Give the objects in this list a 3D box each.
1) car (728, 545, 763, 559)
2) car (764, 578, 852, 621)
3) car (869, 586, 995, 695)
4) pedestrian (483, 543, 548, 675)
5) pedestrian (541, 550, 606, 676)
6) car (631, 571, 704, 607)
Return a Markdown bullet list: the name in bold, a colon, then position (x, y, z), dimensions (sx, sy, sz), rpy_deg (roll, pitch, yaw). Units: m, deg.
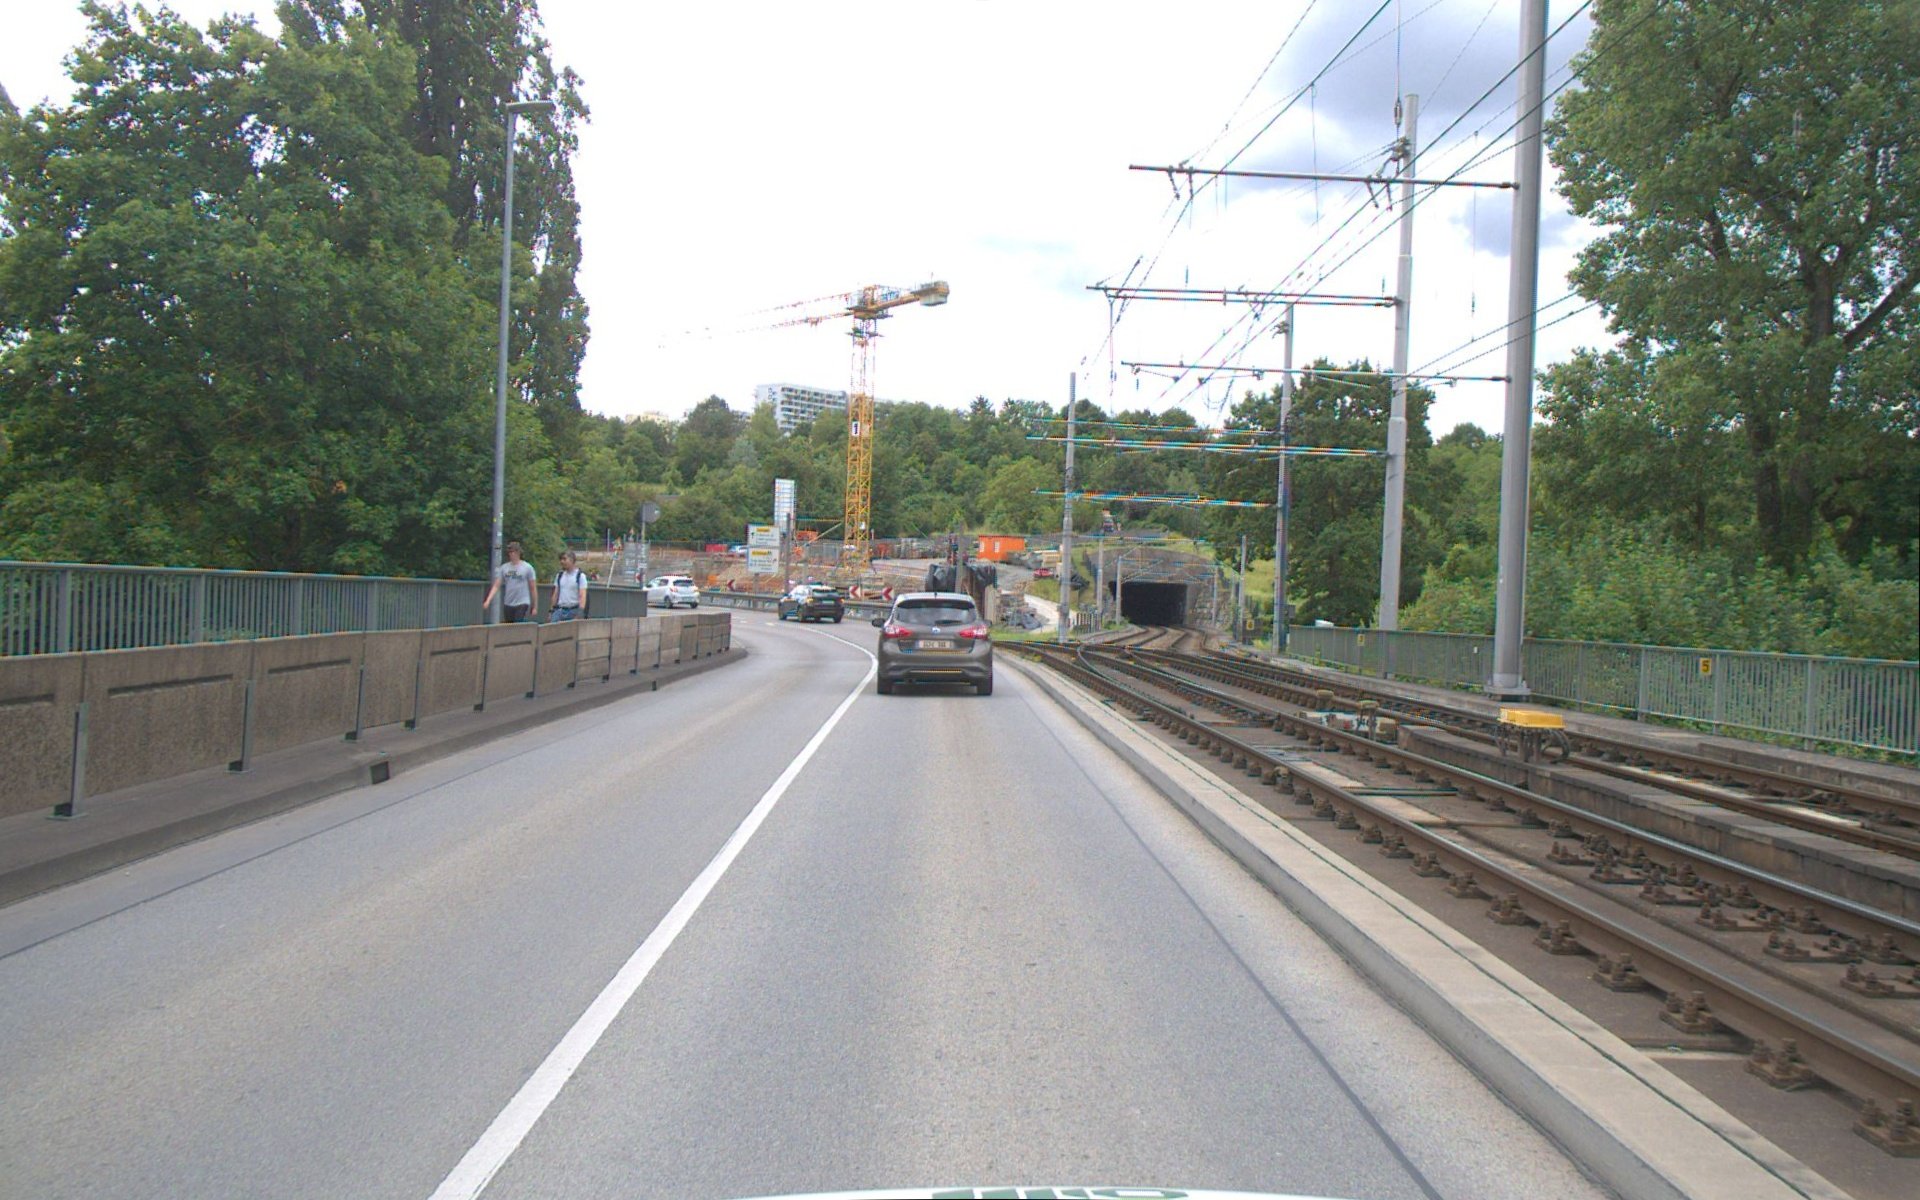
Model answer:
- **car**: position (-24.091, -5.416, 185.552), dimensions (3.928, 1.434, 1.790), rpy_deg (2, 1, 41)
- **car**: position (-6.222, -0.032, 67.545), dimensions (1.666, 1.634, 4.255), rpy_deg (1, 1, -35)
- **car**: position (-0.377, 0.578, 25.992), dimensions (1.792, 1.536, 4.000), rpy_deg (1, 0, 1)
- **pedestrian**: position (-6.462, 0.124, 24.088), dimensions (0.706, 1.871, 0.723), rpy_deg (2, 0, -1)
- **pedestrian**: position (-5.445, 0.177, 23.310), dimensions (0.706, 1.731, 0.723), rpy_deg (2, 0, -1)
- **car**: position (-14.313, -0.551, 80.811), dimensions (1.669, 1.634, 4.249), rpy_deg (1, 1, -39)
